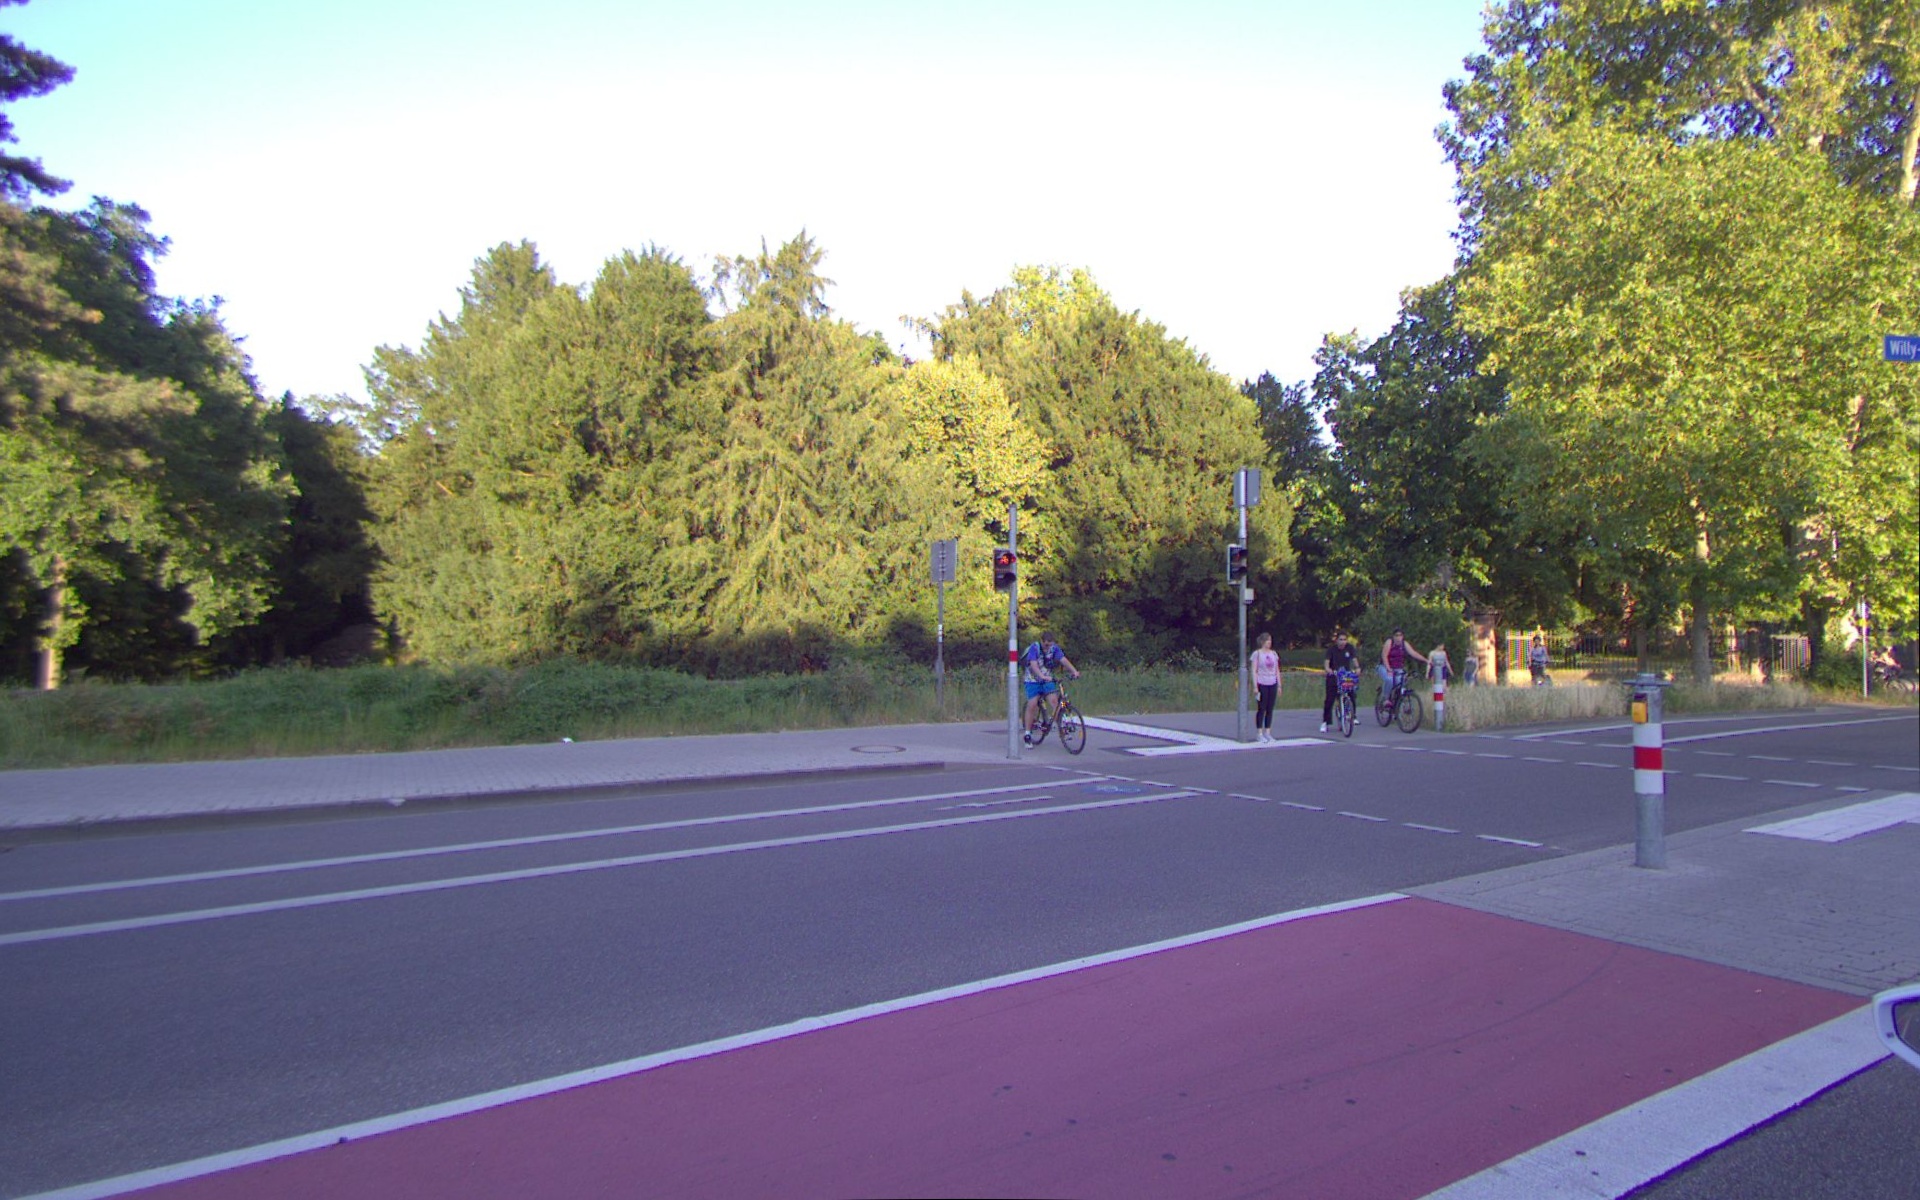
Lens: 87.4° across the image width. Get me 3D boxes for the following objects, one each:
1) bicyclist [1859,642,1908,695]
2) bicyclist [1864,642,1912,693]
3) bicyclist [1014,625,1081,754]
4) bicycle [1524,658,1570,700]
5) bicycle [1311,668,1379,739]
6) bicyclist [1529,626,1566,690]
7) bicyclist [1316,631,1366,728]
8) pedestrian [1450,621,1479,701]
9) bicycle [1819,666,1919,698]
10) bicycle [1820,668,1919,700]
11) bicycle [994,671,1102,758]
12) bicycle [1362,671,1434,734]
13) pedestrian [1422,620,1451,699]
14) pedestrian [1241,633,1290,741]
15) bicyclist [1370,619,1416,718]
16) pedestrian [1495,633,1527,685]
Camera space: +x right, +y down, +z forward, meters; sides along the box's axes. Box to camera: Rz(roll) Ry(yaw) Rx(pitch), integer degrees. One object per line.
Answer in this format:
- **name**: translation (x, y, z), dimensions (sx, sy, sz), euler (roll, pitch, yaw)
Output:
- **bicyclist**: translation (29.339, 2.164, 31.920), dimensions (0.743, 1.652, 0.954), euler (1, -2, -29)
- **bicyclist**: translation (30.664, 2.215, 33.188), dimensions (0.743, 1.652, 0.954), euler (1, -2, -29)
- **bicyclist**: translation (1.303, 1.306, 14.980), dimensions (0.729, 1.848, 0.705), euler (1, -2, -34)
- **bicycle**: translation (16.442, 2.193, 28.173), dimensions (0.727, 1.046, 2.297), euler (0, -1, 21)
- **bicycle**: translation (6.675, 1.779, 17.489), dimensions (0.620, 1.126, 1.569), euler (0, -2, 1)
- **bicyclist**: translation (16.508, 1.621, 28.224), dimensions (0.743, 1.751, 0.944), euler (0, -1, 20)
- **bicyclist**: translation (6.678, 1.383, 17.624), dimensions (0.618, 1.671, 0.640), euler (0, -2, 1)
- **pedestrian**: translation (13.122, 1.579, 26.136), dimensions (0.584, 2.040, 0.642), euler (0, -1, 20)
- **bicycle**: translation (30.421, 2.728, 33.621), dimensions (0.765, 0.936, 2.420), euler (1, -2, -29)
- **bicycle**: translation (29.206, 2.667, 32.158), dimensions (0.765, 0.936, 2.420), euler (1, -2, -29)
- **bicycle**: translation (1.261, 1.640, 14.847), dimensions (0.761, 1.115, 2.113), euler (1, -2, -21)
- **bicycle**: translation (8.023, 1.848, 18.469), dimensions (0.568, 1.043, 1.772), euler (0, -2, 1)
- **pedestrian**: translation (12.537, 1.562, 26.428), dimensions (0.638, 2.040, 0.606), euler (0, -1, 22)
- **pedestrian**: translation (4.984, 1.408, 16.402), dimensions (0.492, 1.718, 0.604), euler (1, -2, -28)
- **bicyclist**: translation (8.034, 1.261, 18.659), dimensions (0.564, 1.803, 0.640), euler (0, -2, 1)
- **pedestrian**: translation (22.504, 2.396, 41.011), dimensions (1.067, 2.040, 0.755), euler (1, -1, -36)
